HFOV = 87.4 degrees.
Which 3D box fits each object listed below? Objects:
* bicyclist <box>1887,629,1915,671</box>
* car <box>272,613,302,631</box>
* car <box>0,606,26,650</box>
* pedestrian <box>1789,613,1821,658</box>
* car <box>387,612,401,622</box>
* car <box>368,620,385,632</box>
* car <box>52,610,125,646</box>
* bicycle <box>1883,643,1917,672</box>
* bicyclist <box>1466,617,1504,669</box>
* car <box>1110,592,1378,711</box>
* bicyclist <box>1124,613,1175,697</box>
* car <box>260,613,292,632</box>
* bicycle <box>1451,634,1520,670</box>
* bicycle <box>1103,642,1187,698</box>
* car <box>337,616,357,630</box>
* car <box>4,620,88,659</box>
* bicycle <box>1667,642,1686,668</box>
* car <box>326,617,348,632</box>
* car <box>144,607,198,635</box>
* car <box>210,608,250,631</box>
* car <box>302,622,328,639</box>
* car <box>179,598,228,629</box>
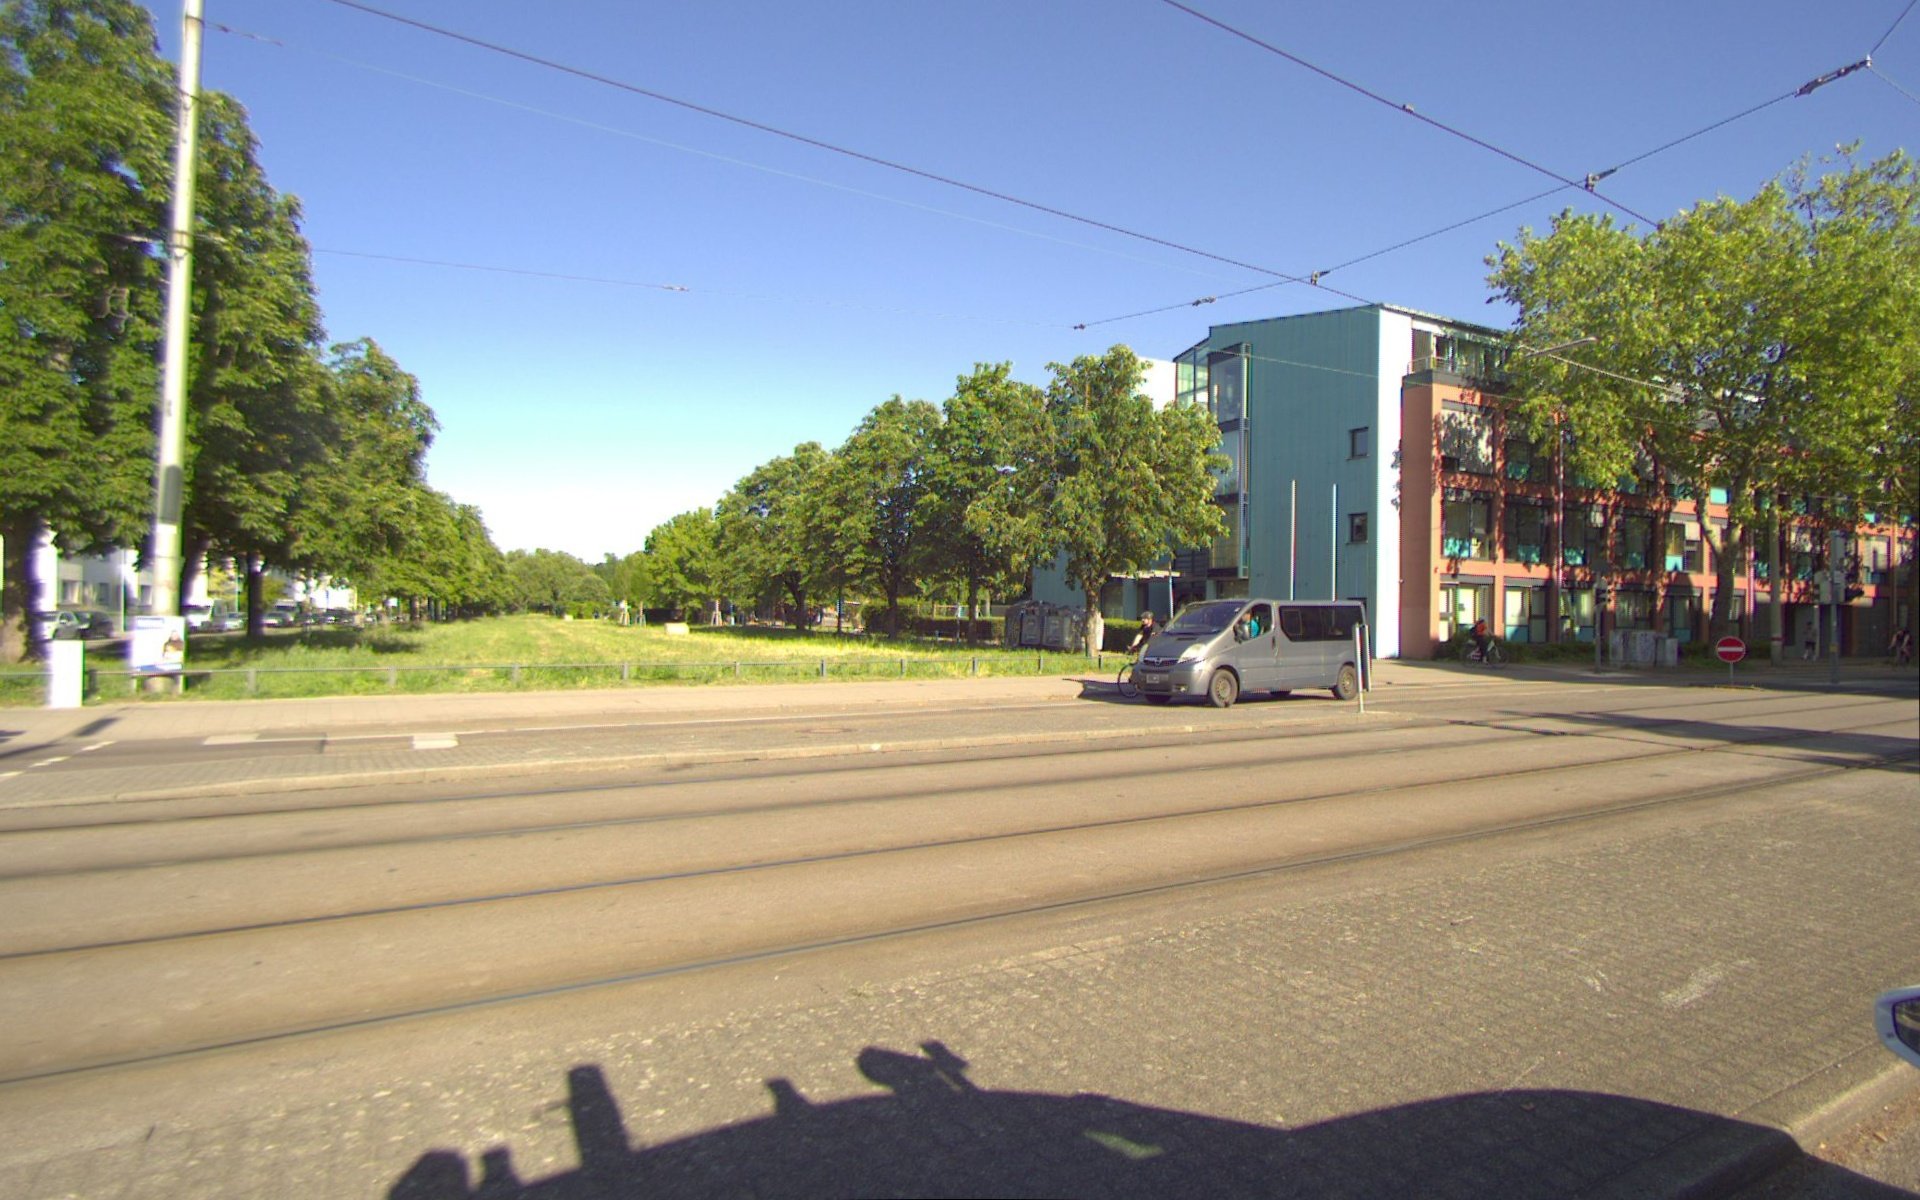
[{"bbox_3d":[37.862,1.998,40.427,0.773,1.633,0.640,0,1,-36],"label":"bicyclist"},{"bbox_3d":[-65.340,2.113,97.621,1.791,1.766,3.864,1,-1,-24],"label":"car"},{"bbox_3d":[-40.098,1.129,40.954,1.791,1.766,3.864,1,-1,-24],"label":"car"},{"bbox_3d":[39.104,1.645,46.499,0.773,2.041,0.904,0,1,-35],"label":"pedestrian"},{"bbox_3d":[-100.588,3.007,178.411,1.791,1.766,3.864,1,-1,-24],"label":"car"},{"bbox_3d":[-89.302,3.999,153.771,1.791,1.766,3.864,1,-1,-24],"label":"car"},{"bbox_3d":[-45.109,1.415,52.057,1.791,1.766,3.864,1,-1,-24],"label":"car"},{"bbox_3d":[37.817,2.300,40.404,1.906,1.056,0.640,1,1,-36],"label":"bicycle"},{"bbox_3d":[17.848,1.446,34.138,0.914,1.715,0.606,1,1,-2],"label":"bicyclist"},{"bbox_3d":[5.565,0.907,19.447,5.191,2.040,2.009,0,-2,-32],"label":"car"},{"bbox_3d":[4.005,1.156,21.267,0.891,1.733,0.584,1,-2,-30],"label":"bicyclist"},{"bbox_3d":[-63.177,2.059,92.860,1.791,1.766,3.864,1,-1,-24],"label":"car"},{"bbox_3d":[17.845,1.752,34.142,1.996,1.145,0.633,1,1,-2],"label":"bicycle"},{"bbox_3d":[3.912,1.455,21.197,1.805,1.128,0.584,1,-2,-30],"label":"bicycle"},{"bbox_3d":[-81.312,3.061,133.290,1.791,1.766,3.864,1,-1,-24],"label":"car"},{"bbox_3d":[-43.188,1.823,47.549,1.791,1.766,3.864,1,-1,-24],"label":"car"},{"bbox_3d":[26.930,2.047,37.749,0.514,0.918,1.537,0,-1,39],"label":"bicycle"},{"bbox_3d":[-76.421,2.967,123.252,1.791,1.766,3.864,1,-1,-24],"label":"car"},{"bbox_3d":[-50.527,1.337,64.399,1.791,1.766,3.864,1,-1,-24],"label":"car"},{"bbox_3d":[-57.846,1.530,79.682,1.791,1.766,3.864,1,-1,-24],"label":"car"},{"bbox_3d":[-70.229,3.264,109.349,1.791,1.766,3.864,1,-1,-24],"label":"car"},{"bbox_3d":[-52.903,0.947,70.322,1.791,2.122,4.158,1,-1,-24],"label":"car"}]
